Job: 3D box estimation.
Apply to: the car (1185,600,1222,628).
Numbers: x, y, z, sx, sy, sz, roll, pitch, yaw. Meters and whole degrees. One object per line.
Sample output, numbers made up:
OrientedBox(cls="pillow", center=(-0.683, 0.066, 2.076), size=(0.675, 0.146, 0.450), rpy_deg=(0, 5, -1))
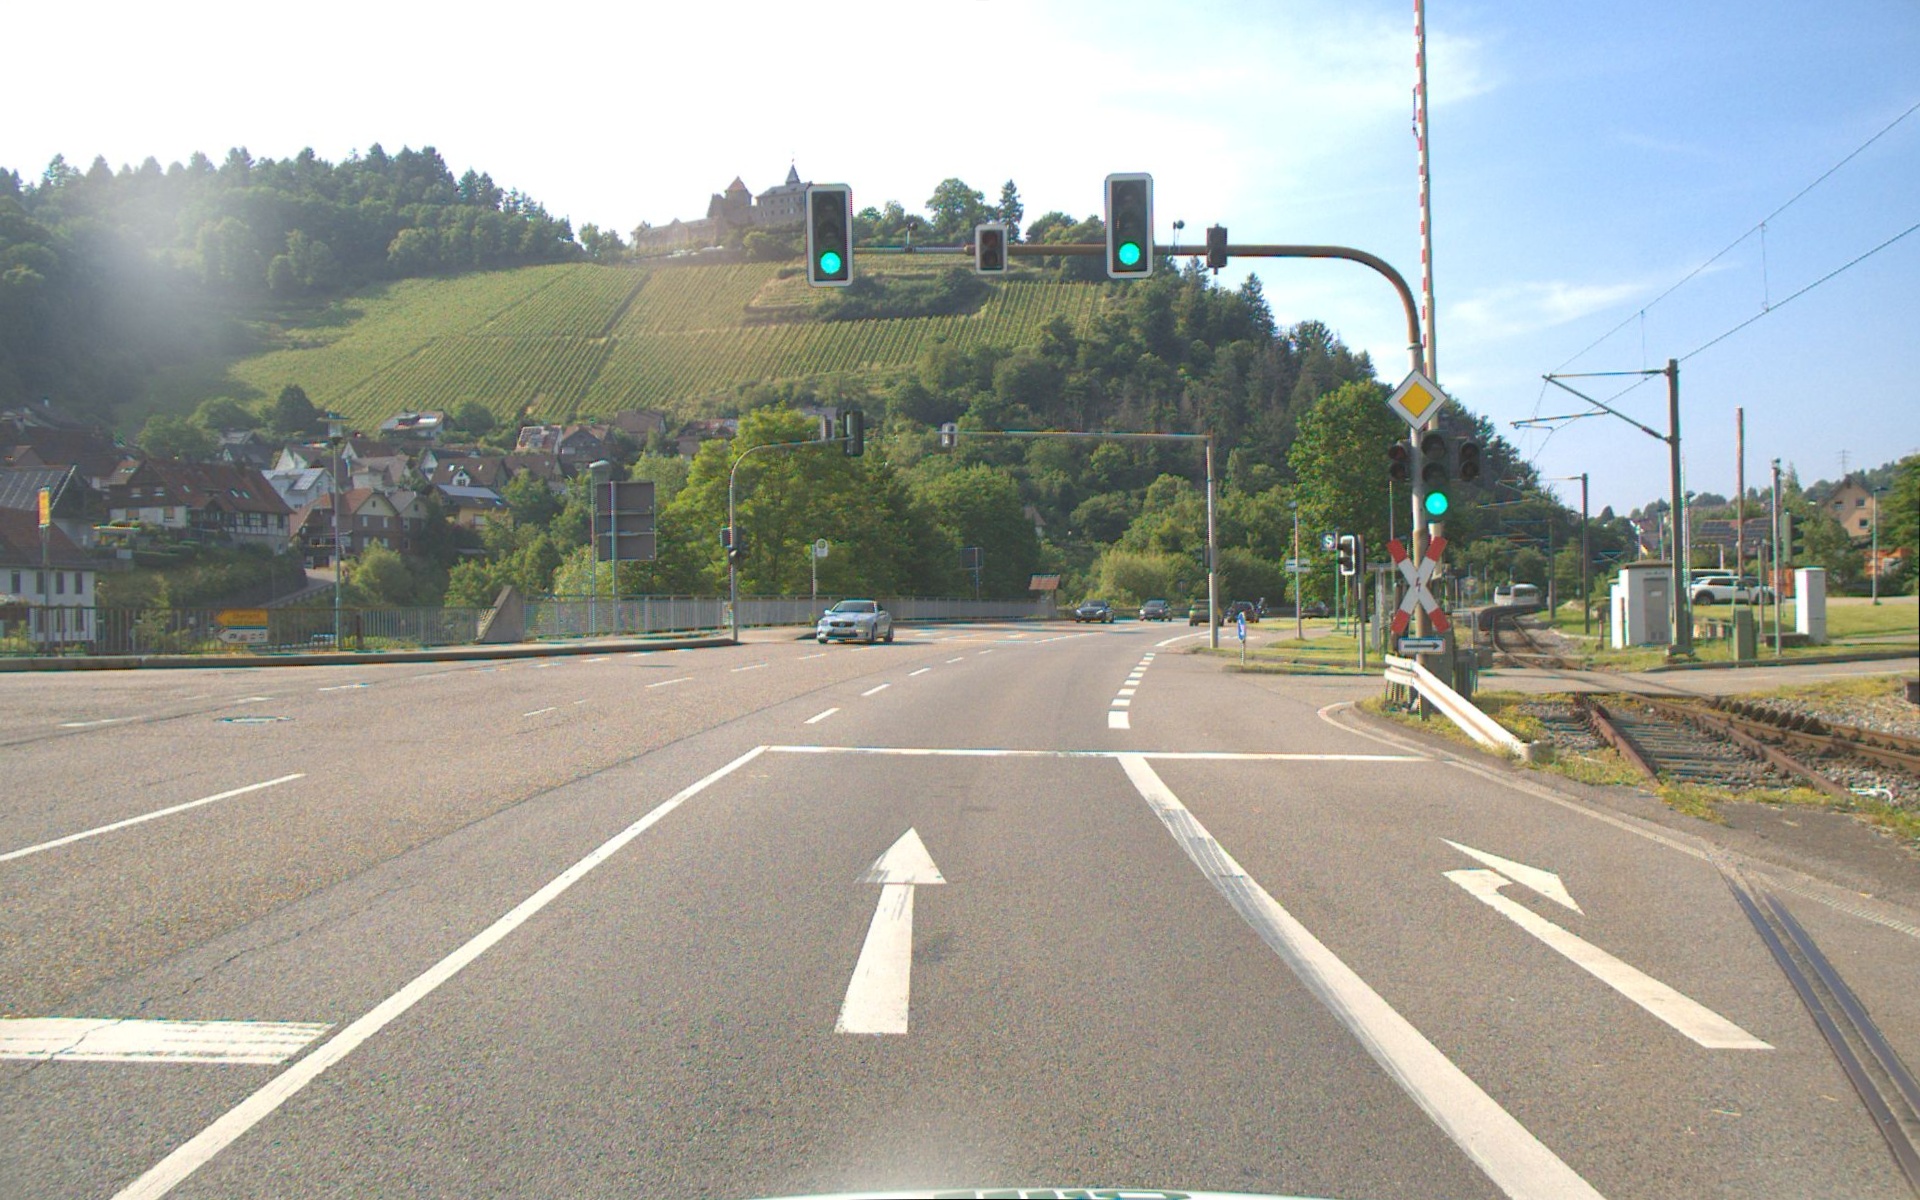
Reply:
OrientedBox(cls="car", center=(14.007, 0.807, 94.956), size=(1.691, 1.482, 3.413), rpy_deg=(-2, -1, 14))

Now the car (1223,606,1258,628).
OrientedBox(cls="car", center=(19.417, 1.185, 114.525), size=(1.801, 1.485, 3.714), rpy_deg=(-2, -1, 18))

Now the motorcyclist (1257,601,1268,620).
OrientedBox(cls="motorcyclist", center=(28.069, 0.968, 153.671), size=(0.827, 1.815, 1.172), rpy_deg=(0, 0, 19))

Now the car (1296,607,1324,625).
OrientedBox(cls="car", center=(31.083, 1.421, 146.969), size=(1.770, 1.478, 3.646), rpy_deg=(-2, -1, 22))

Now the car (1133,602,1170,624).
OrientedBox(cls="car", center=(13.890, 0.941, 119.879), size=(1.748, 1.505, 4.755), rpy_deg=(0, 0, 19))

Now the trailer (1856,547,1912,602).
OrientedBox(cls="trailer", center=(70.346, -1.857, 125.879), size=(2.564, 3.962, 7.699), rpy_deg=(-3, -2, 37))

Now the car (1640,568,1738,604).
OrientedBox(cls="car", center=(41.034, -0.759, 93.213), size=(4.847, 1.977, 2.142), rpy_deg=(0, 0, 19))

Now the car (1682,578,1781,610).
OrientedBox(cls="car", center=(36.004, -0.267, 77.308), size=(4.010, 1.422, 1.810), rpy_deg=(0, 0, 19))

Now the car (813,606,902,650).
OrientedBox(cls="car", center=(-3.039, 0.827, 49.818), size=(1.610, 1.253, 4.097), rpy_deg=(0, 0, 13))

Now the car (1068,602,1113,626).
OrientedBox(cls="car", center=(8.074, 0.847, 101.926), size=(1.734, 1.401, 4.646), rpy_deg=(2, 0, 18))

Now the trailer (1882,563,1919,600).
OrientedBox(cls="trailer", center=(59.203, -1.137, 102.236), size=(3.632, 2.228, 1.810), rpy_deg=(-2, -1, 38))

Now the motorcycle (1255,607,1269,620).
OrientedBox(cls="motorcycle", center=(28.077, 1.258, 153.709), size=(0.952, 1.242, 2.572), rpy_deg=(1, 0, 19))
